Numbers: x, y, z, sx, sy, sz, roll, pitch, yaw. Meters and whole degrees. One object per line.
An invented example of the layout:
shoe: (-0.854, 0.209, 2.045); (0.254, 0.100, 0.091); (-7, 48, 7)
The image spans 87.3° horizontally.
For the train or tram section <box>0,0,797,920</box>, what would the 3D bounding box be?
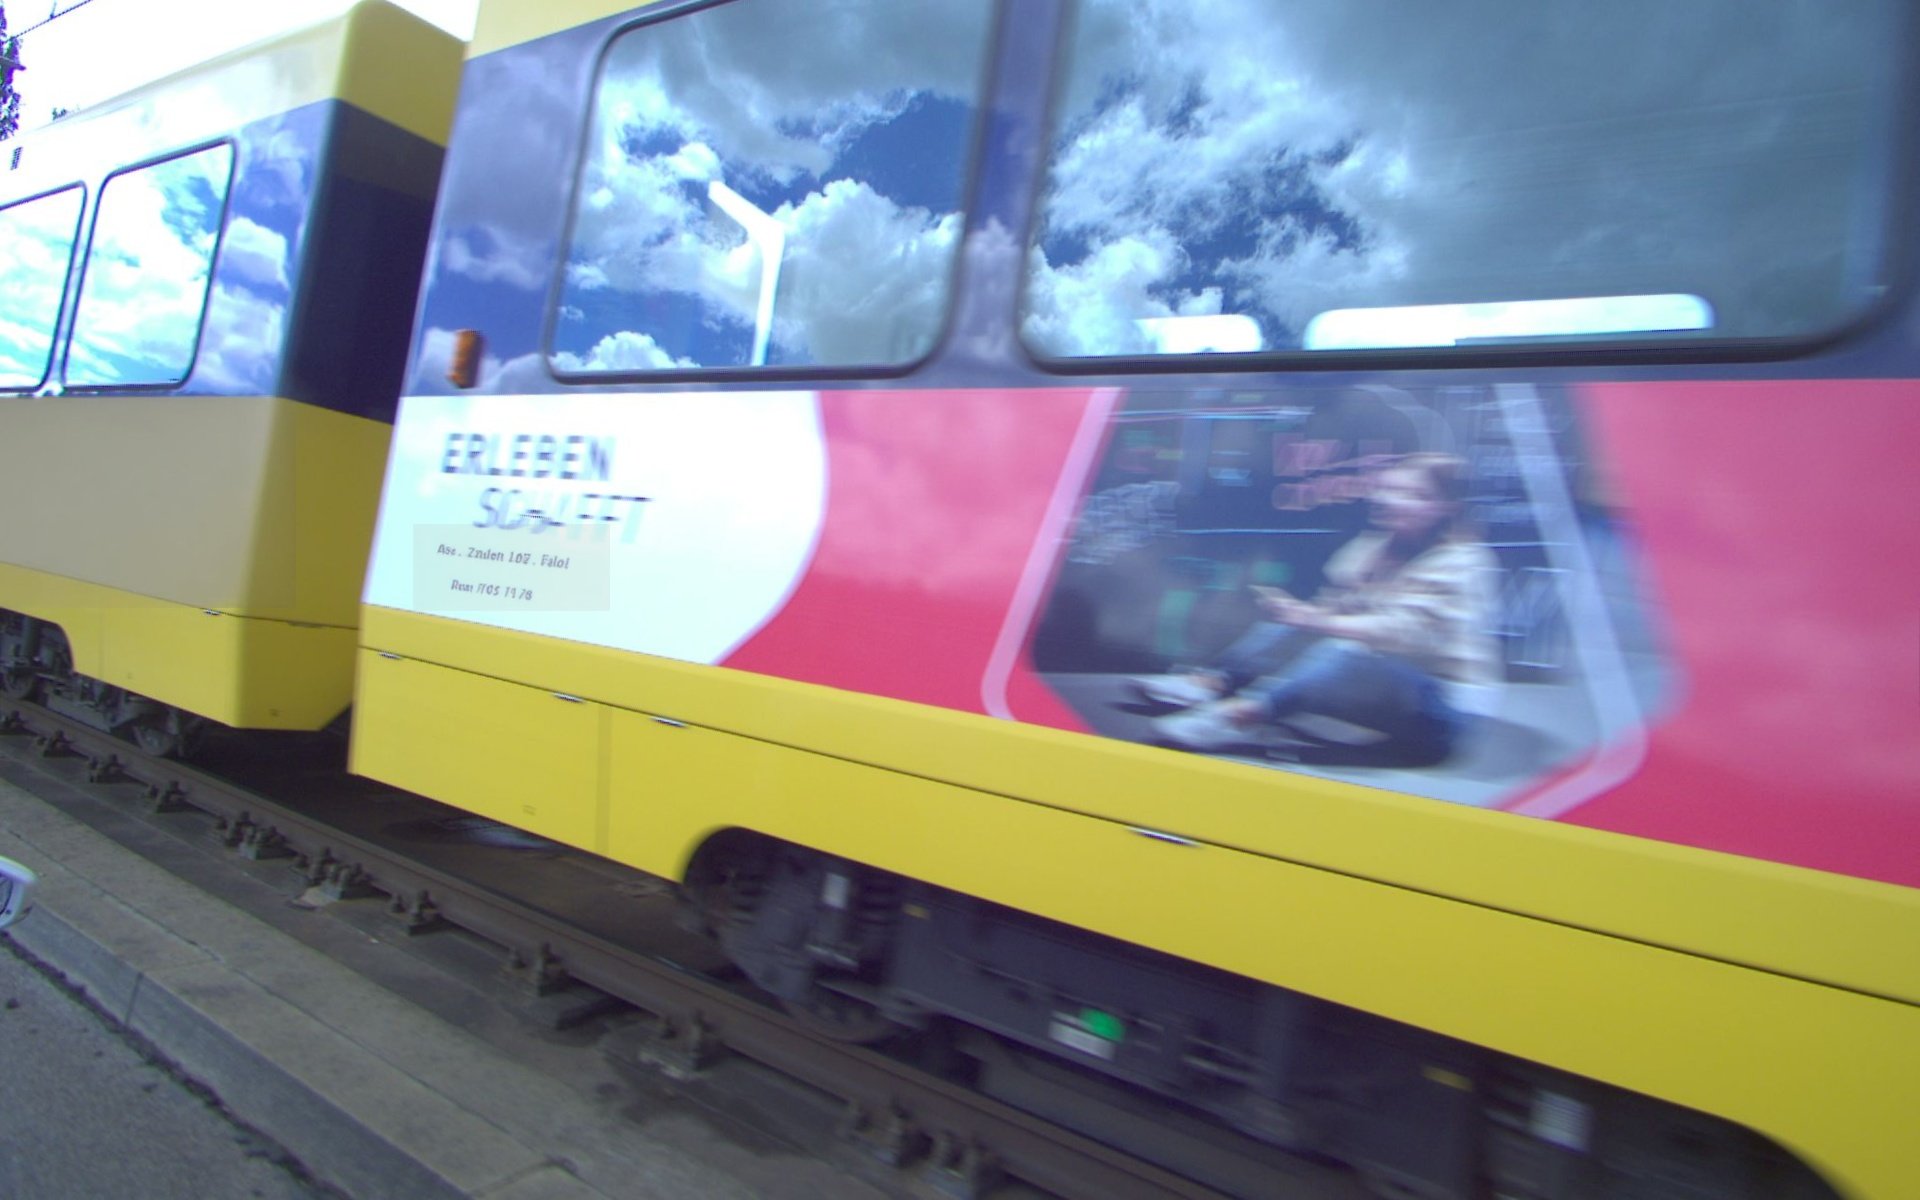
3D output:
train or tram section: (-9.716, -1.492, 9.536); (18.353, 3.624, 2.834); (7, 0, 31)

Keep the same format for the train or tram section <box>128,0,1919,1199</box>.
train or tram section: (5.667, 0.395, 0.247); (18.353, 3.552, 2.887); (7, 0, 31)
